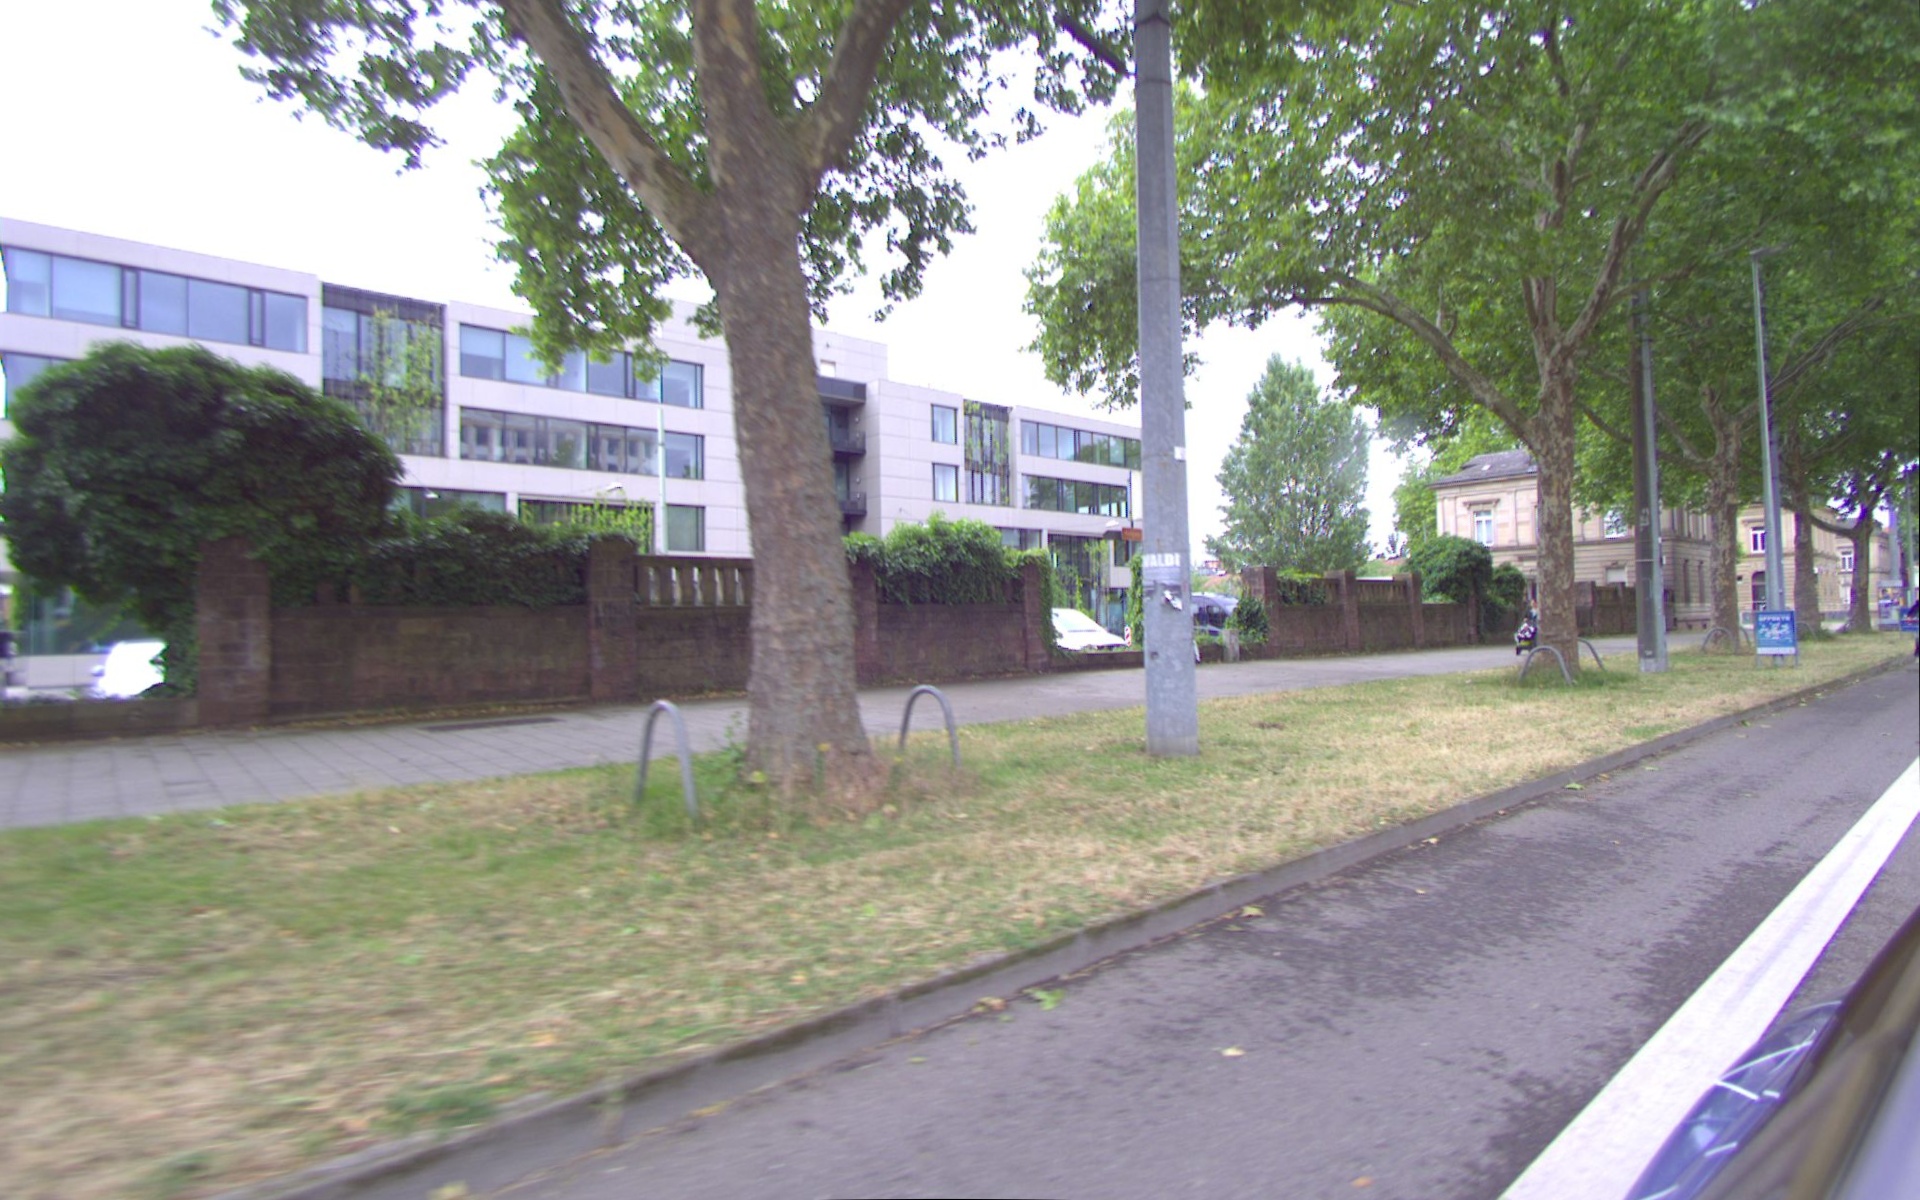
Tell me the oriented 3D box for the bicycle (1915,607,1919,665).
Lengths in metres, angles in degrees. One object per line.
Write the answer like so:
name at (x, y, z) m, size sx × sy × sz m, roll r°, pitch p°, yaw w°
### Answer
bicycle at (20.432, 0.720, 21.056) m, size 2.245 × 1.164 × 0.653 m, roll -1°, pitch -1°, yaw -44°

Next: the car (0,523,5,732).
car at (-13.748, 0.481, 13.064) m, size 2.041 × 2.453 × 5.234 m, roll -1°, pitch -3°, yaw -43°

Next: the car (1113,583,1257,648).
car at (7.528, 0.530, 34.178) m, size 1.967 × 2.039 × 4.350 m, roll -1°, pitch -1°, yaw -43°

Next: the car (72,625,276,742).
car at (-12.057, 1.183, 15.370) m, size 1.971 × 1.429 × 5.098 m, roll -1°, pitch -2°, yaw -43°

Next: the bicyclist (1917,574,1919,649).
bicyclist at (20.486, 0.230, 21.148) m, size 0.653 × 1.550 × 0.641 m, roll 0°, pitch -1°, yaw -43°

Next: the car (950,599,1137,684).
car at (2.119, 1.061, 26.987) m, size 1.967 × 2.039 × 4.879 m, roll -1°, pitch -1°, yaw -43°

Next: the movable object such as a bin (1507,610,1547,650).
movable object such as a bin at (16.465, 0.858, 29.383) m, size 0.995 × 1.126 × 0.613 m, roll 0°, pitch -2°, yaw -36°

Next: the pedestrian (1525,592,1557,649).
pedestrian at (17.166, 0.602, 29.909) m, size 0.657 × 1.653 × 0.560 m, roll -1°, pitch -1°, yaw -35°
